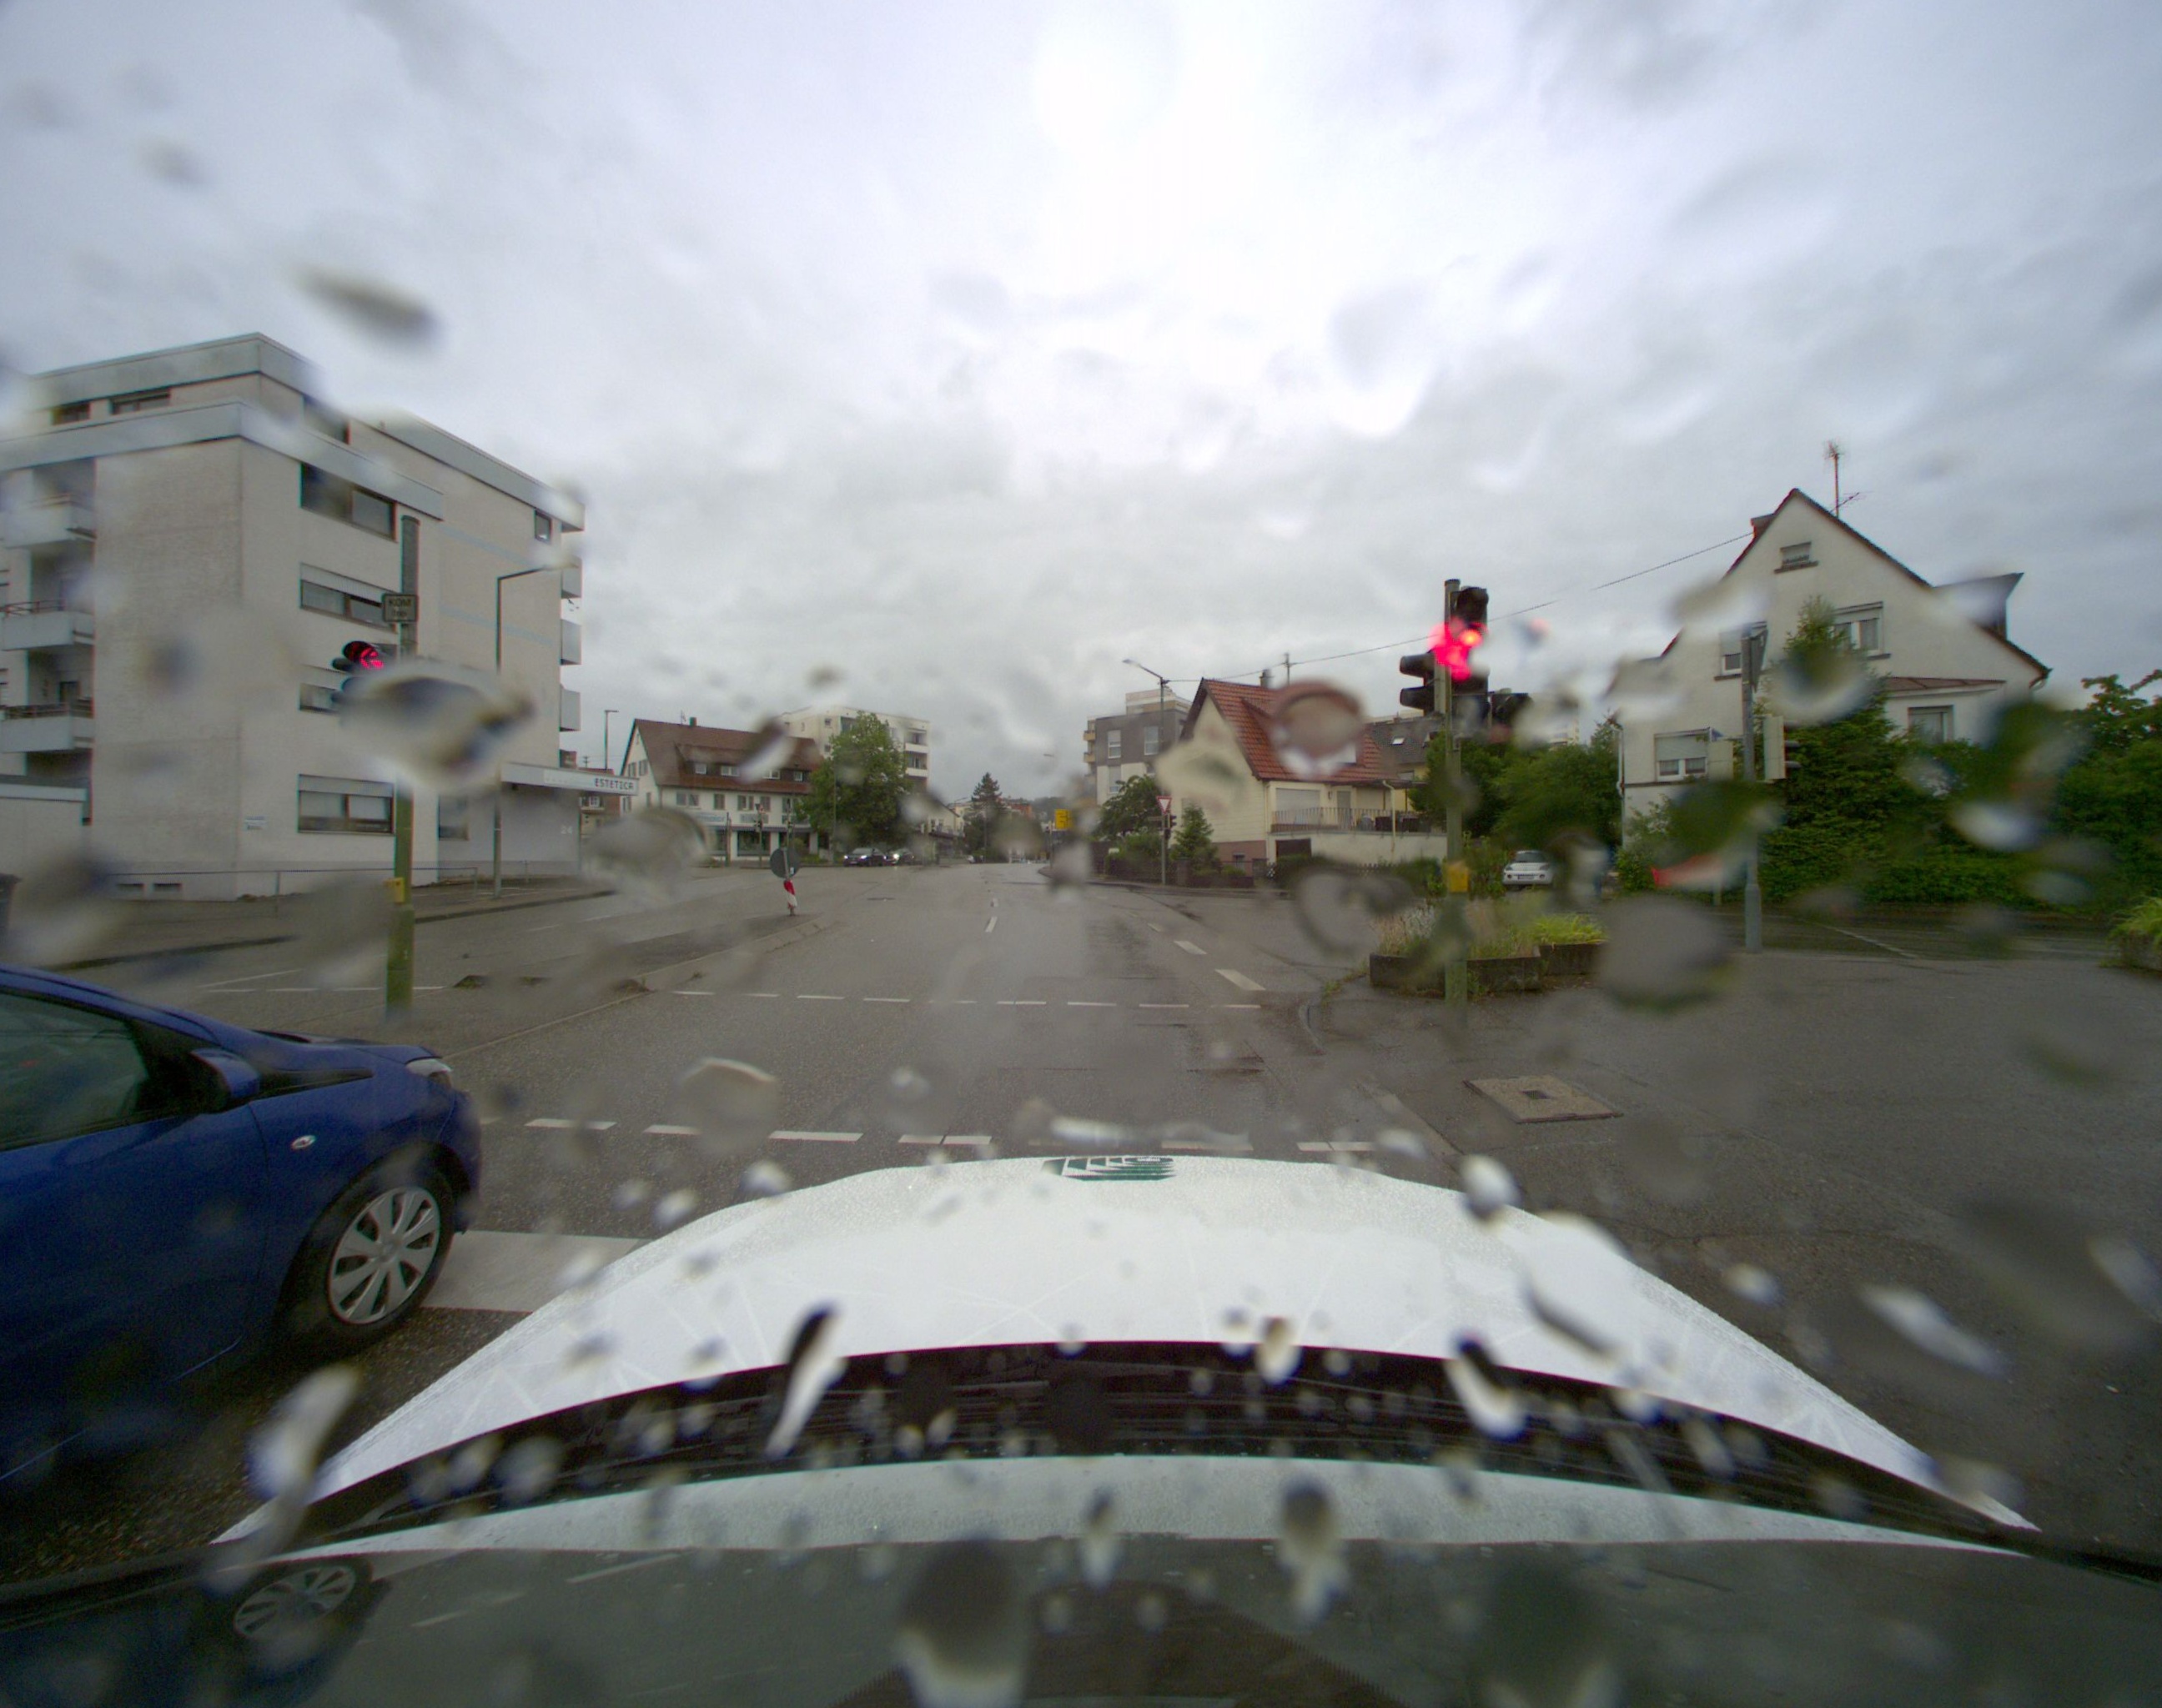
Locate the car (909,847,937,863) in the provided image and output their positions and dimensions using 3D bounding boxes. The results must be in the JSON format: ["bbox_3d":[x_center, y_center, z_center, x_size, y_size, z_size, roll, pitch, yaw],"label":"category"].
[{"bbox_3d":[-14.471,0.085,74.765,1.772,1.420,3.832,0,1,2],"label":"car"}]

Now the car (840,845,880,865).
[{"bbox_3d":[-16.130,0.029,59.608,1.772,1.420,3.832,0,1,2],"label":"car"}]

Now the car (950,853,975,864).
[{"bbox_3d":[-19.042,0.729,131.196,3.838,1.815,1.760,0,0,-2],"label":"car"}]

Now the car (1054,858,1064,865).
[{"bbox_3d":[-4.813,1.584,178.902,1.806,1.486,4.192,-1,0,3],"label":"car"}]

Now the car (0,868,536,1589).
[{"bbox_3d":[-2.965,0.774,1.544,1.572,1.410,3.272,0,0,2],"label":"car"}]

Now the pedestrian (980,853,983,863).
[{"bbox_3d":[-16.854,0.697,137.931,0.494,1.658,0.435,0,0,11],"label":"pedestrian"}]

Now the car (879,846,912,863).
[{"bbox_3d":[-15.194,0.027,66.903,1.709,1.387,4.022,0,1,2],"label":"car"}]

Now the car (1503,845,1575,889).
[{"bbox_3d":[17.056,0.447,30.259,1.723,1.514,4.025,0,1,39],"label":"car"}]

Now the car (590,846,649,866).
[{"bbox_3d":[-38.464,0.141,67.915,3.988,1.572,1.850,0,1,-42],"label":"car"}]
